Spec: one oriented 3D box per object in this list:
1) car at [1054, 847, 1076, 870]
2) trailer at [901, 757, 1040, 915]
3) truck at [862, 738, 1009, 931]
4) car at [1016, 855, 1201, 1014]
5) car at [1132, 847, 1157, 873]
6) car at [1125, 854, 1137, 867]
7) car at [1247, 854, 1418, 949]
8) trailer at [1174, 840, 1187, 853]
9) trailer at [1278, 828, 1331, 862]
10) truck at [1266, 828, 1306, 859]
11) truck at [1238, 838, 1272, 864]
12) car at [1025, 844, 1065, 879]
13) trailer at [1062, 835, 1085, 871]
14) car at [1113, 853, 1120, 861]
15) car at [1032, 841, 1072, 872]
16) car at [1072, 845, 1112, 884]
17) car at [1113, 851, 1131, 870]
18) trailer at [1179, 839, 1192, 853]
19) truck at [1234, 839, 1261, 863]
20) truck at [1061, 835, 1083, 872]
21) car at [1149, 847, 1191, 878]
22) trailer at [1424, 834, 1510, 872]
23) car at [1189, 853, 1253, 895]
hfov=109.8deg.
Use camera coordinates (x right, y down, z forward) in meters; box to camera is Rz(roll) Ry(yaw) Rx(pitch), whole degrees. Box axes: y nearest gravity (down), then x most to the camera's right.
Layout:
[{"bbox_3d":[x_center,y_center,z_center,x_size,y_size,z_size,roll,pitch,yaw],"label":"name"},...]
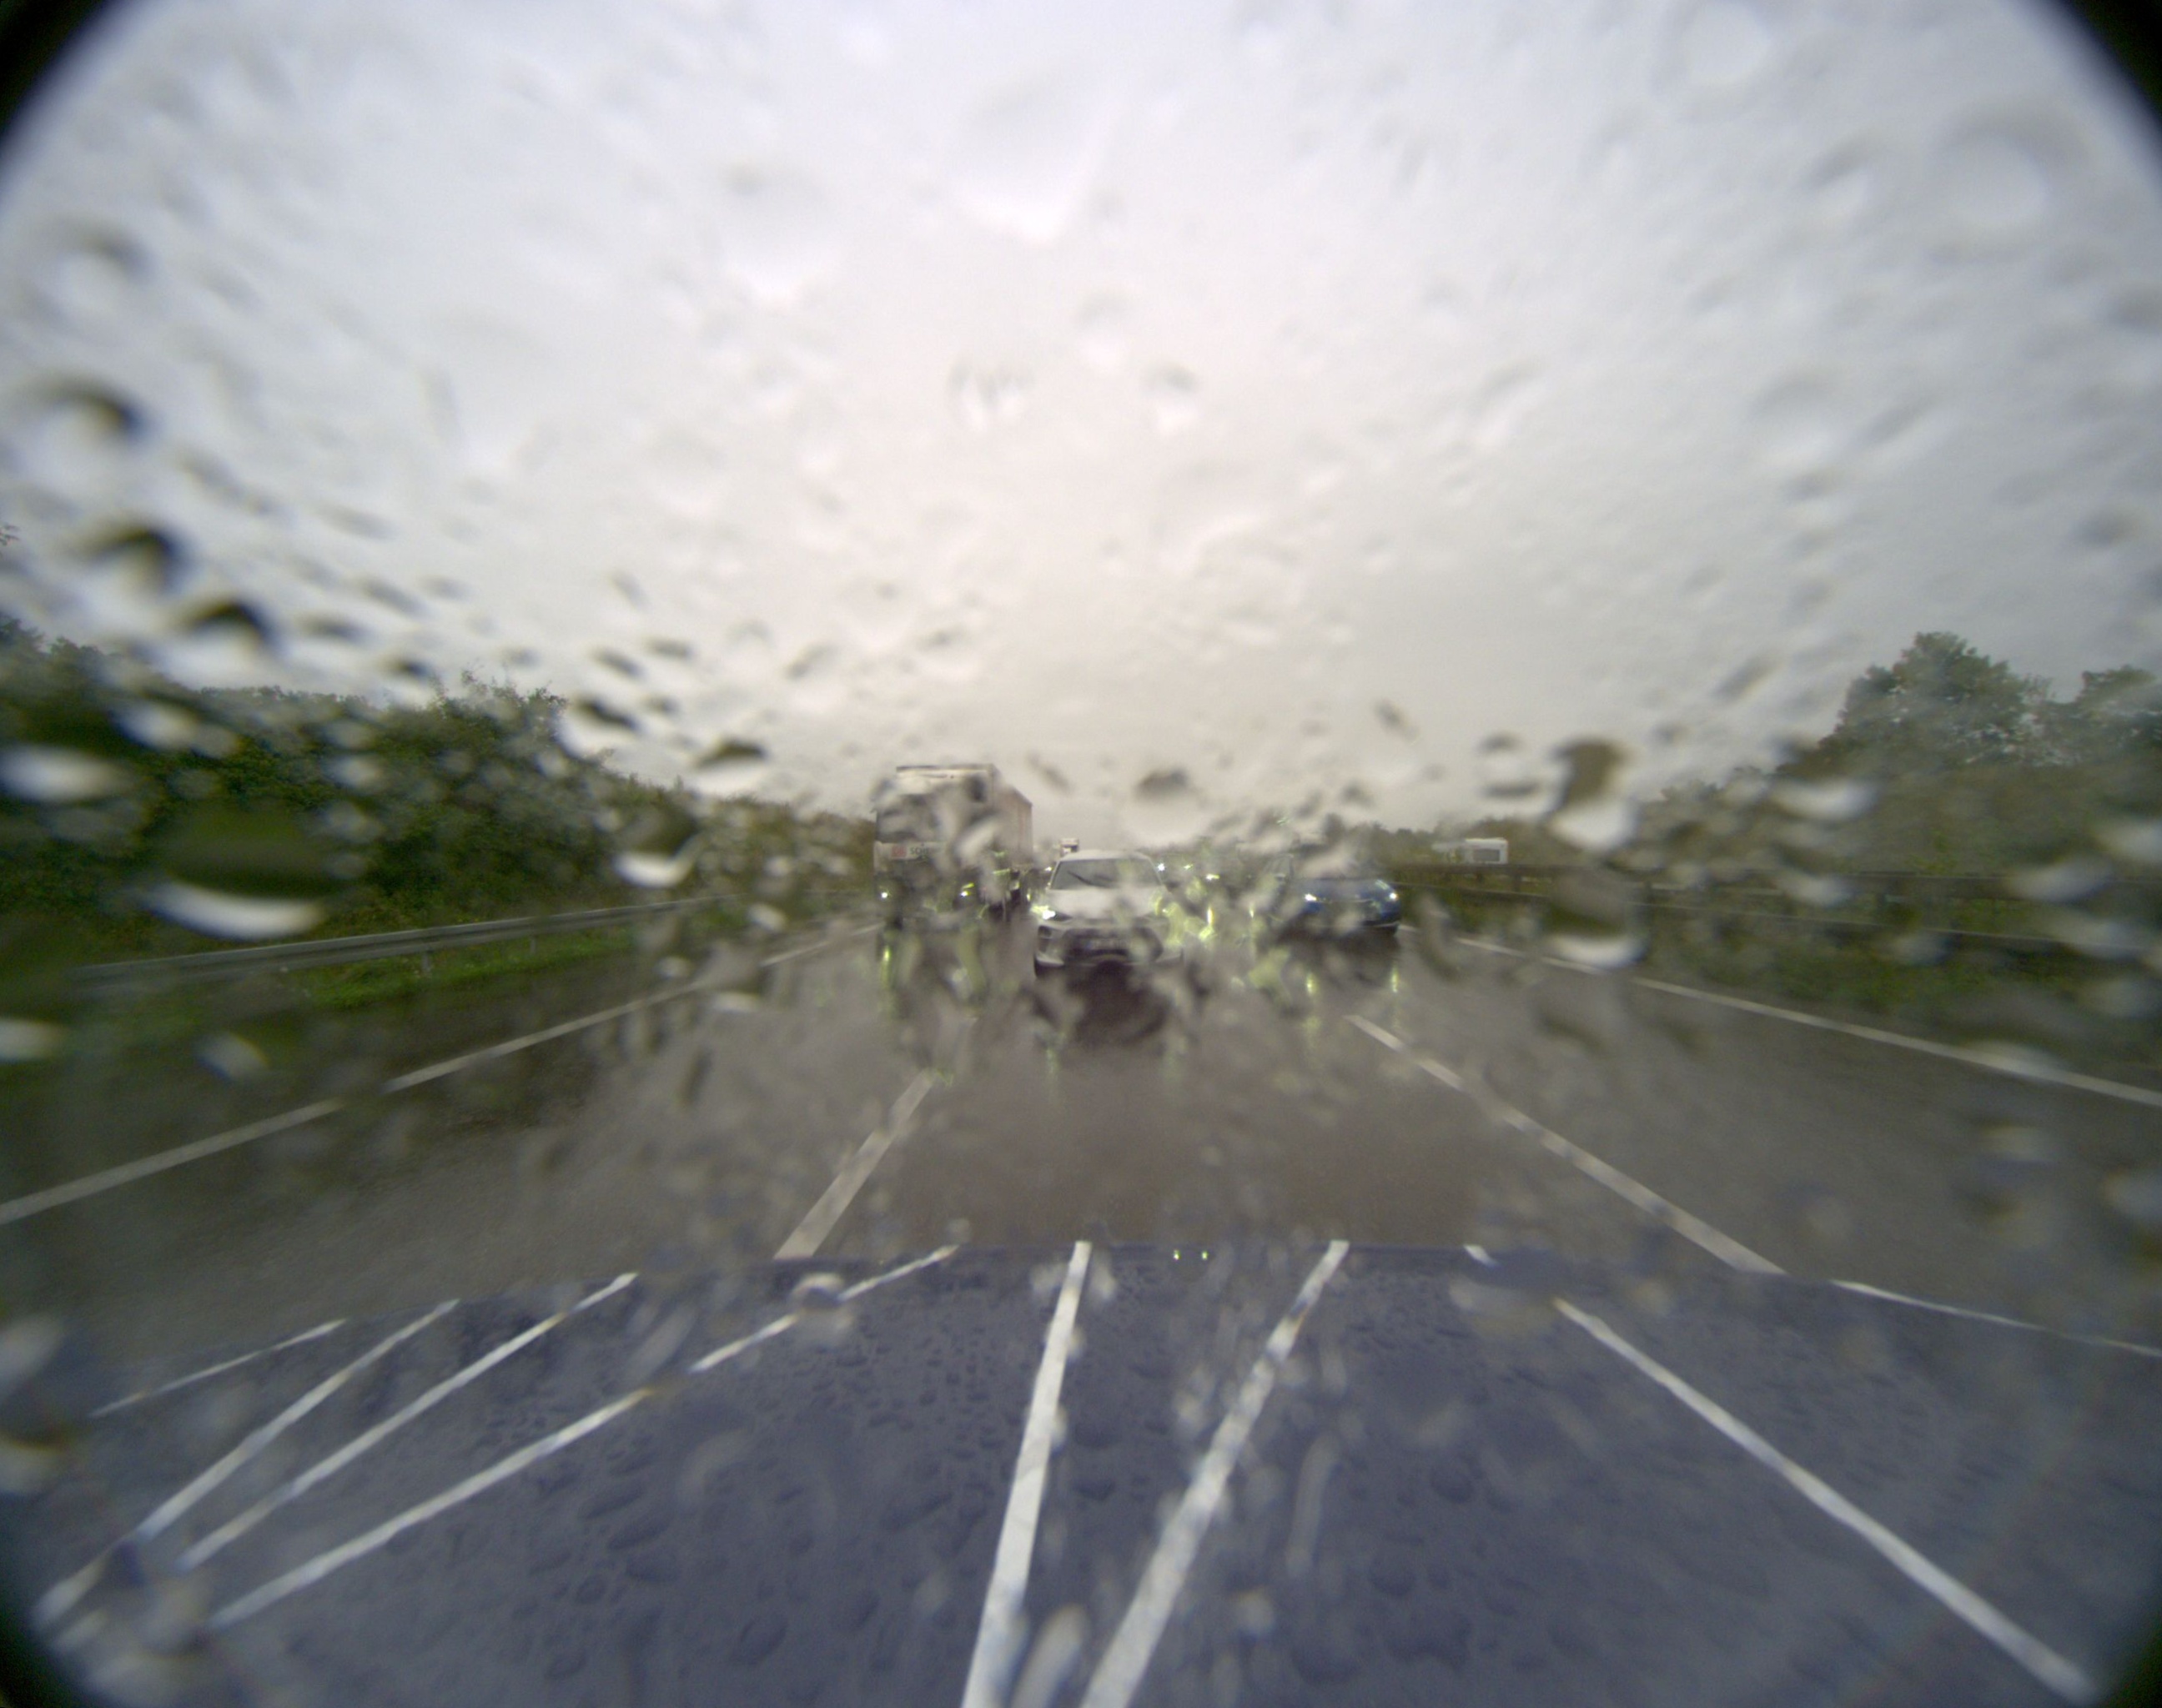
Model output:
[{"bbox_3d":[-1.593,0.463,77.338,1.998,2.231,4.000,-1,0,1],"label":"car"},{"bbox_3d":[-3.384,-0.554,27.727,2.633,4.224,14.175,-2,1,1],"label":"trailer"},{"bbox_3d":[-3.488,-0.453,19.505,2.633,4.229,5.042,-2,1,0],"label":"truck"},{"bbox_3d":[0.319,0.844,9.918,1.893,1.578,4.000,-2,0,1],"label":"car"},{"bbox_3d":[5.206,0.457,62.614,1.888,2.002,4.270,-1,0,4],"label":"car"},{"bbox_3d":[6.320,0.812,96.473,1.458,1.540,2.804,0,2,1],"label":"car"},{"bbox_3d":[4.507,0.760,14.403,1.790,1.467,4.512,-1,0,1],"label":"car"},{"bbox_3d":[24.630,-1.799,187.739,1.998,3.064,9.555,-1,0,1],"label":"trailer"},{"bbox_3d":[18.375,-0.804,62.933,2.487,2.704,7.322,0,2,2],"label":"trailer"},{"bbox_3d":[18.583,-0.972,69.159,2.487,2.704,4.527,0,2,2],"label":"truck"},{"bbox_3d":[23.265,-0.431,102.134,2.561,3.279,9.346,0,2,1],"label":"truck"},{"bbox_3d":[-2.133,0.410,46.272,1.946,2.002,4.446,-2,1,3],"label":"car"},{"bbox_3d":[-0.974,-0.066,103.927,2.628,4.635,9.222,-1,0,1],"label":"trailer"},{"bbox_3d":[7.045,0.553,149.462,1.279,1.567,2.848,-1,0,1],"label":"car"},{"bbox_3d":[-1.989,0.118,52.874,2.260,2.002,4.270,-2,1,4],"label":"car"},{"bbox_3d":[0.650,0.540,41.168,1.998,2.002,4.000,-1,0,2],"label":"car"},{"bbox_3d":[4.503,0.727,83.595,1.737,2.002,4.223,-1,0,1],"label":"car"},{"bbox_3d":[24.481,-1.802,178.504,1.998,3.064,8.872,-1,0,1],"label":"trailer"},{"bbox_3d":[23.337,-0.512,106.709,2.547,3.261,5.197,1,1,0],"label":"truck"},{"bbox_3d":[-1.107,-0.085,98.794,2.628,4.635,4.290,-1,0,1],"label":"truck"},{"bbox_3d":[5.028,0.467,43.423,1.888,1.622,4.269,-1,0,1],"label":"car"},{"bbox_3d":[21.633,-0.120,42.878,2.097,2.002,5.348,0,2,0],"label":"trailer"},{"bbox_3d":[5.144,0.697,28.423,1.613,1.428,4.370,-1,0,1],"label":"car"}]
